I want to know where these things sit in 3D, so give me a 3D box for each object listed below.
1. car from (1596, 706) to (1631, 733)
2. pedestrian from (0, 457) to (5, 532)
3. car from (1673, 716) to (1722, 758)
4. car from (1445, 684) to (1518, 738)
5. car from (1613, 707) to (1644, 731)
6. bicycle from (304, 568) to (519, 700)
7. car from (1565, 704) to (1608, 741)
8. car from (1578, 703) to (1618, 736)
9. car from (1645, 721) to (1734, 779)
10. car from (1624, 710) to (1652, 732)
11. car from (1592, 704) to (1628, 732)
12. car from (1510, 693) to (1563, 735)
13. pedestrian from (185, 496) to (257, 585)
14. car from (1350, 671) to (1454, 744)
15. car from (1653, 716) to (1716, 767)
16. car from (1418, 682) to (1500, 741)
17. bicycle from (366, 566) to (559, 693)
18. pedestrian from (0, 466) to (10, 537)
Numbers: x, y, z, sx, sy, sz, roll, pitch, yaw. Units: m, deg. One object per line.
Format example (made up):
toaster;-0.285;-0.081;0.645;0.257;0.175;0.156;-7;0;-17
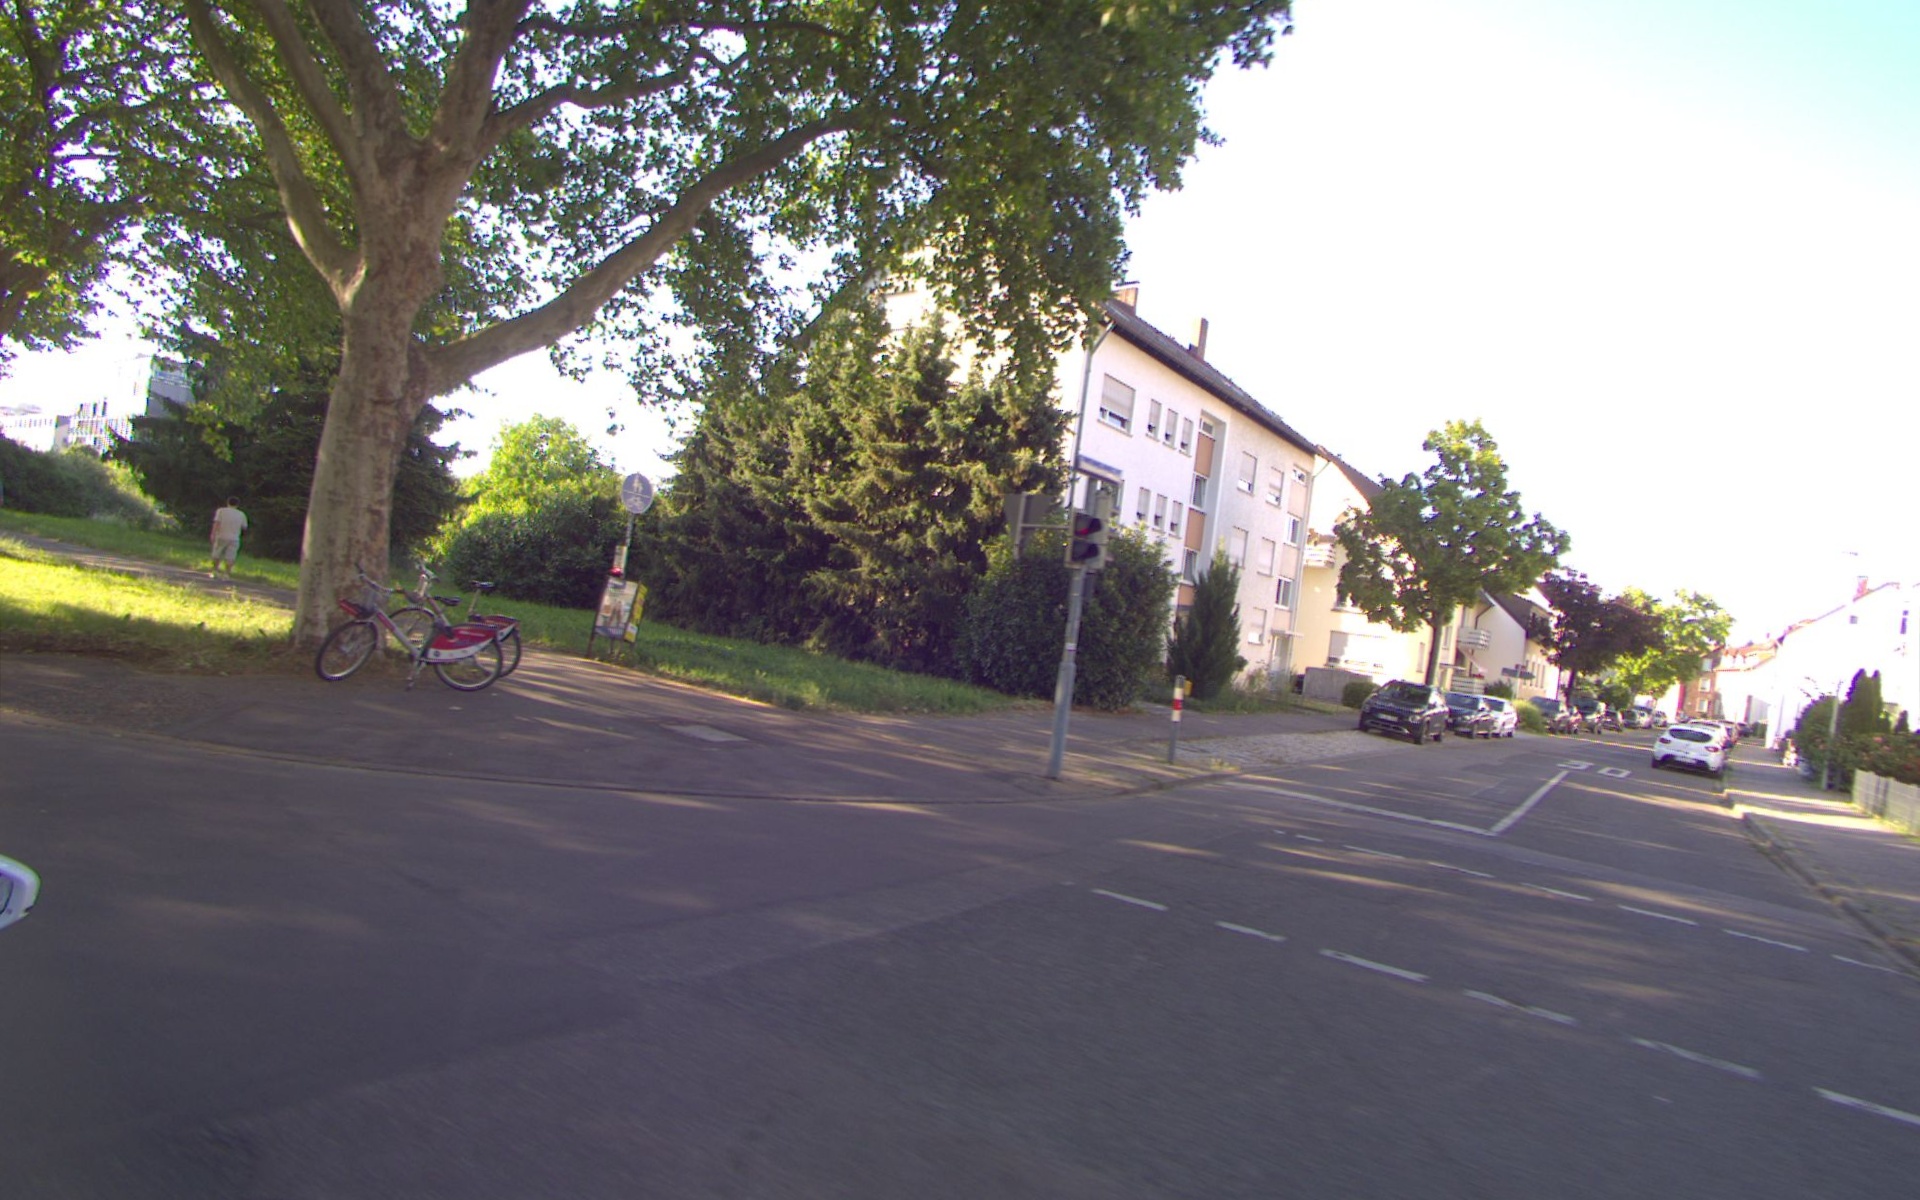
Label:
car;49.706;9.093;76.482;1.753;1.682;3.534;7;-2;38
pedestrian;-8.157;-0.318;7.886;0.811;1.742;0.635;7;2;24
car;34.761;6.432;47.396;1.641;1.643;3.552;7;-1;38
car;20.091;4.262;38.683;1.838;1.614;3.750;11;1;35
car;56.296;10.009;84.689;1.753;1.682;3.534;7;-2;38
bicycle;-5.264;0.343;9.760;1.698;1.048;0.444;8;2;-23
car;33.293;6.477;53.429;1.673;1.614;3.583;7;-1;35
car;38.334;7.140;60.436;1.673;1.614;3.583;11;1;35
car;23.240;4.729;32.007;1.807;1.410;3.548;9;0;42
car;61.326;10.974;90.983;1.753;1.682;3.534;7;-2;38
car;47.012;8.567;72.763;1.753;1.682;3.534;7;-2;38
car;27.347;5.382;47.688;1.673;1.614;3.583;11;1;35
pedestrian;-15.186;-1.215;20.671;0.923;1.670;0.780;7;1;32
car;12.749;3.084;28.903;1.838;1.614;3.750;11;1;35
car;26.424;5.118;36.635;1.642;1.529;3.553;6;-2;38
car;17.426;3.862;35.034;1.838;1.614;3.750;11;1;35
bicycle;-5.516;0.312;11.154;1.970;1.097;0.446;8;2;12
pedestrian;-25.859;-2.671;26.638;0.790;1.870;0.755;7;0;36
